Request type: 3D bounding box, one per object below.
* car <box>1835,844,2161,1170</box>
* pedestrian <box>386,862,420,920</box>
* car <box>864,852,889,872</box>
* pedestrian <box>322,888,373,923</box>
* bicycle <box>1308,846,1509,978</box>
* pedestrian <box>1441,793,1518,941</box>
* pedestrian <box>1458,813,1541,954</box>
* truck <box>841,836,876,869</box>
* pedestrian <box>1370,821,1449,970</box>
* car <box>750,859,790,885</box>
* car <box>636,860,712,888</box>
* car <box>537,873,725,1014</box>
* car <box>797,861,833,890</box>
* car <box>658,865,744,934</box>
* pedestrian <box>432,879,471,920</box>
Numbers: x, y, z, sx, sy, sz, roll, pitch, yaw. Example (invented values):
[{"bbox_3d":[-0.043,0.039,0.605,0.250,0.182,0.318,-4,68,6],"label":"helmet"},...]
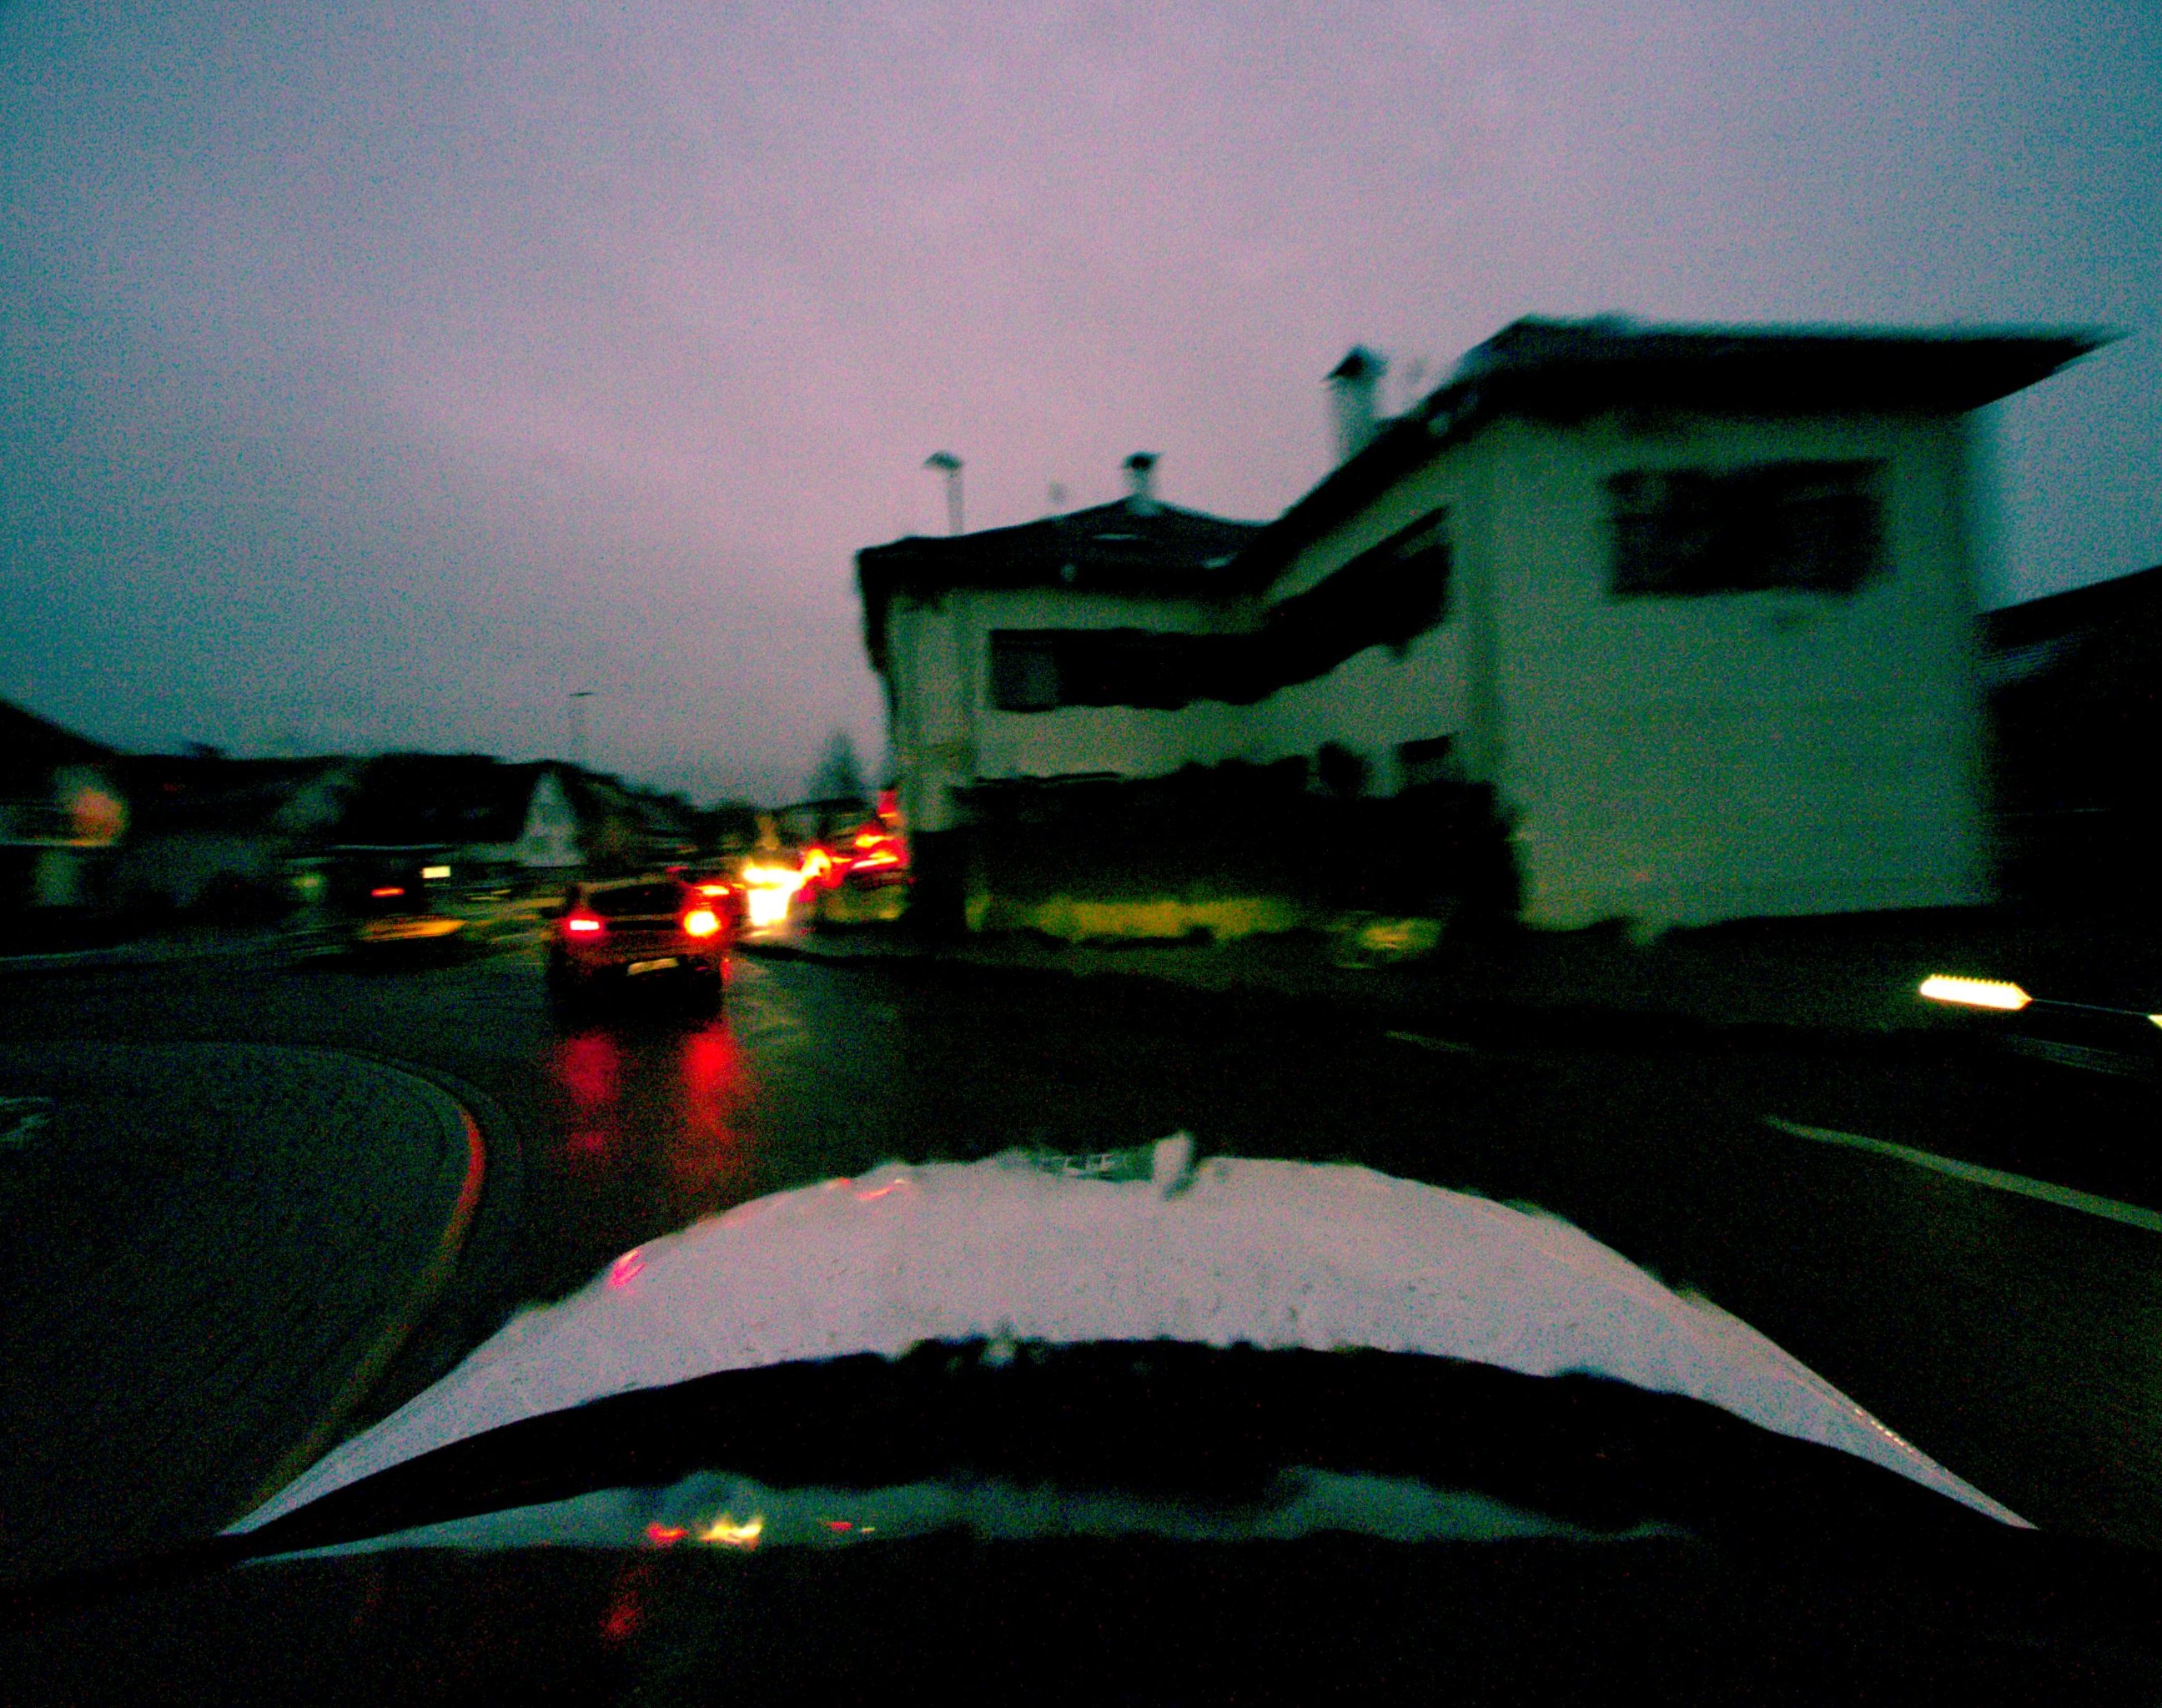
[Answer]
[{"bbox_3d":[6.735,0.599,4.030,4.205,1.384,1.851,-2,-2,1],"label":"car"},{"bbox_3d":[-22.031,1.195,26.467,0.734,1.818,0.525,-3,0,-34],"label":"pedestrian"},{"bbox_3d":[-16.764,0.613,66.807,1.691,1.467,3.706,-3,1,-10],"label":"car"},{"bbox_3d":[-22.778,1.594,25.312,0.862,1.010,0.807,-2,0,-14],"label":"pedestrian"},{"bbox_3d":[3.516,0.604,8.797,1.918,1.295,0.555,-2,2,29],"label":"bicycle"},{"bbox_3d":[5.112,0.154,10.476,0.710,1.831,0.639,-2,2,11],"label":"pedestrian"},{"bbox_3d":[4.995,0.343,9.753,0.710,1.621,0.584,-2,1,11],"label":"pedestrian"},{"bbox_3d":[-22.327,-0.176,81.814,2.715,3.010,5.971,-2,1,-10],"label":"truck"},{"bbox_3d":[3.640,0.437,9.012,0.683,1.564,0.614,-2,2,29],"label":"pedestrian"},{"bbox_3d":[-20.703,1.184,54.406,1.741,1.568,4.046,-2,1,-11],"label":"car"},{"bbox_3d":[-27.906,1.368,55.942,4.316,1.640,1.837,-3,1,-16],"label":"car"},{"bbox_3d":[-6.067,1.020,10.746,1.723,1.422,3.969,-2,-1,-35],"label":"car"},{"bbox_3d":[-16.991,1.328,52.226,1.723,1.631,3.983,-2,1,-12],"label":"car"},{"bbox_3d":[-10.658,1.195,23.068,1.924,1.615,3.921,-3,1,-22],"label":"car"},{"bbox_3d":[-21.602,1.553,27.972,0.784,1.348,0.714,-2,0,-11],"label":"pedestrian"}]
